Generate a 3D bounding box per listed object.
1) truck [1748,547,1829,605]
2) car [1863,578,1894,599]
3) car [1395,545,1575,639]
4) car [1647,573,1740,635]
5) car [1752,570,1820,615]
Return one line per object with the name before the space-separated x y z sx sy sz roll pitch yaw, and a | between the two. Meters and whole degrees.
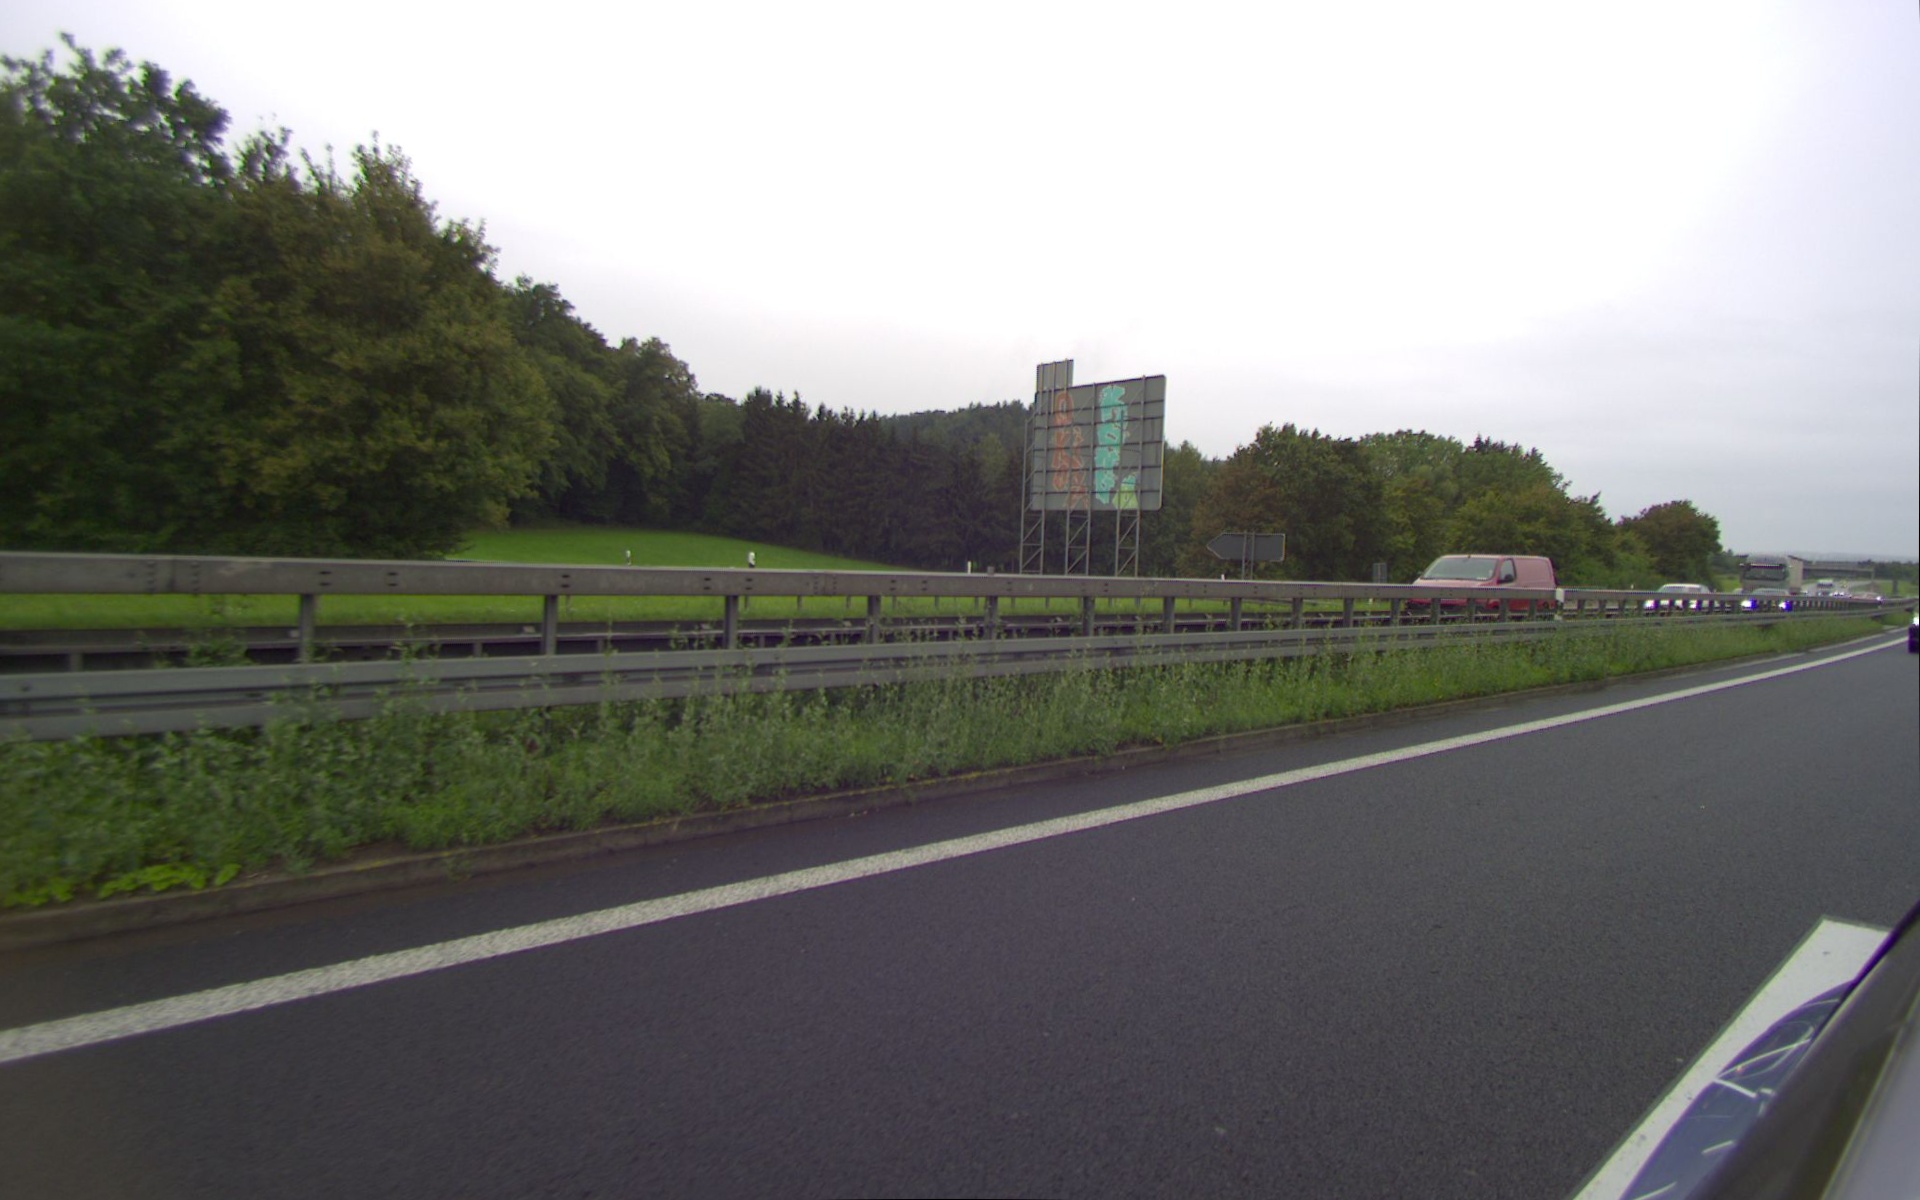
truck | 60.033 -1.716 73.245 9.853 3.949 2.797 -1 2 -41
car | 92.840 -1.206 102.276 4.420 2.038 1.751 -1 2 -41
car | 12.745 -0.233 24.440 4.988 2.038 2.129 -1 2 -41
car | 26.139 0.085 36.018 4.421 2.038 1.750 -1 2 -42
car | 39.456 -0.396 48.331 4.420 2.038 1.751 -1 2 -41
